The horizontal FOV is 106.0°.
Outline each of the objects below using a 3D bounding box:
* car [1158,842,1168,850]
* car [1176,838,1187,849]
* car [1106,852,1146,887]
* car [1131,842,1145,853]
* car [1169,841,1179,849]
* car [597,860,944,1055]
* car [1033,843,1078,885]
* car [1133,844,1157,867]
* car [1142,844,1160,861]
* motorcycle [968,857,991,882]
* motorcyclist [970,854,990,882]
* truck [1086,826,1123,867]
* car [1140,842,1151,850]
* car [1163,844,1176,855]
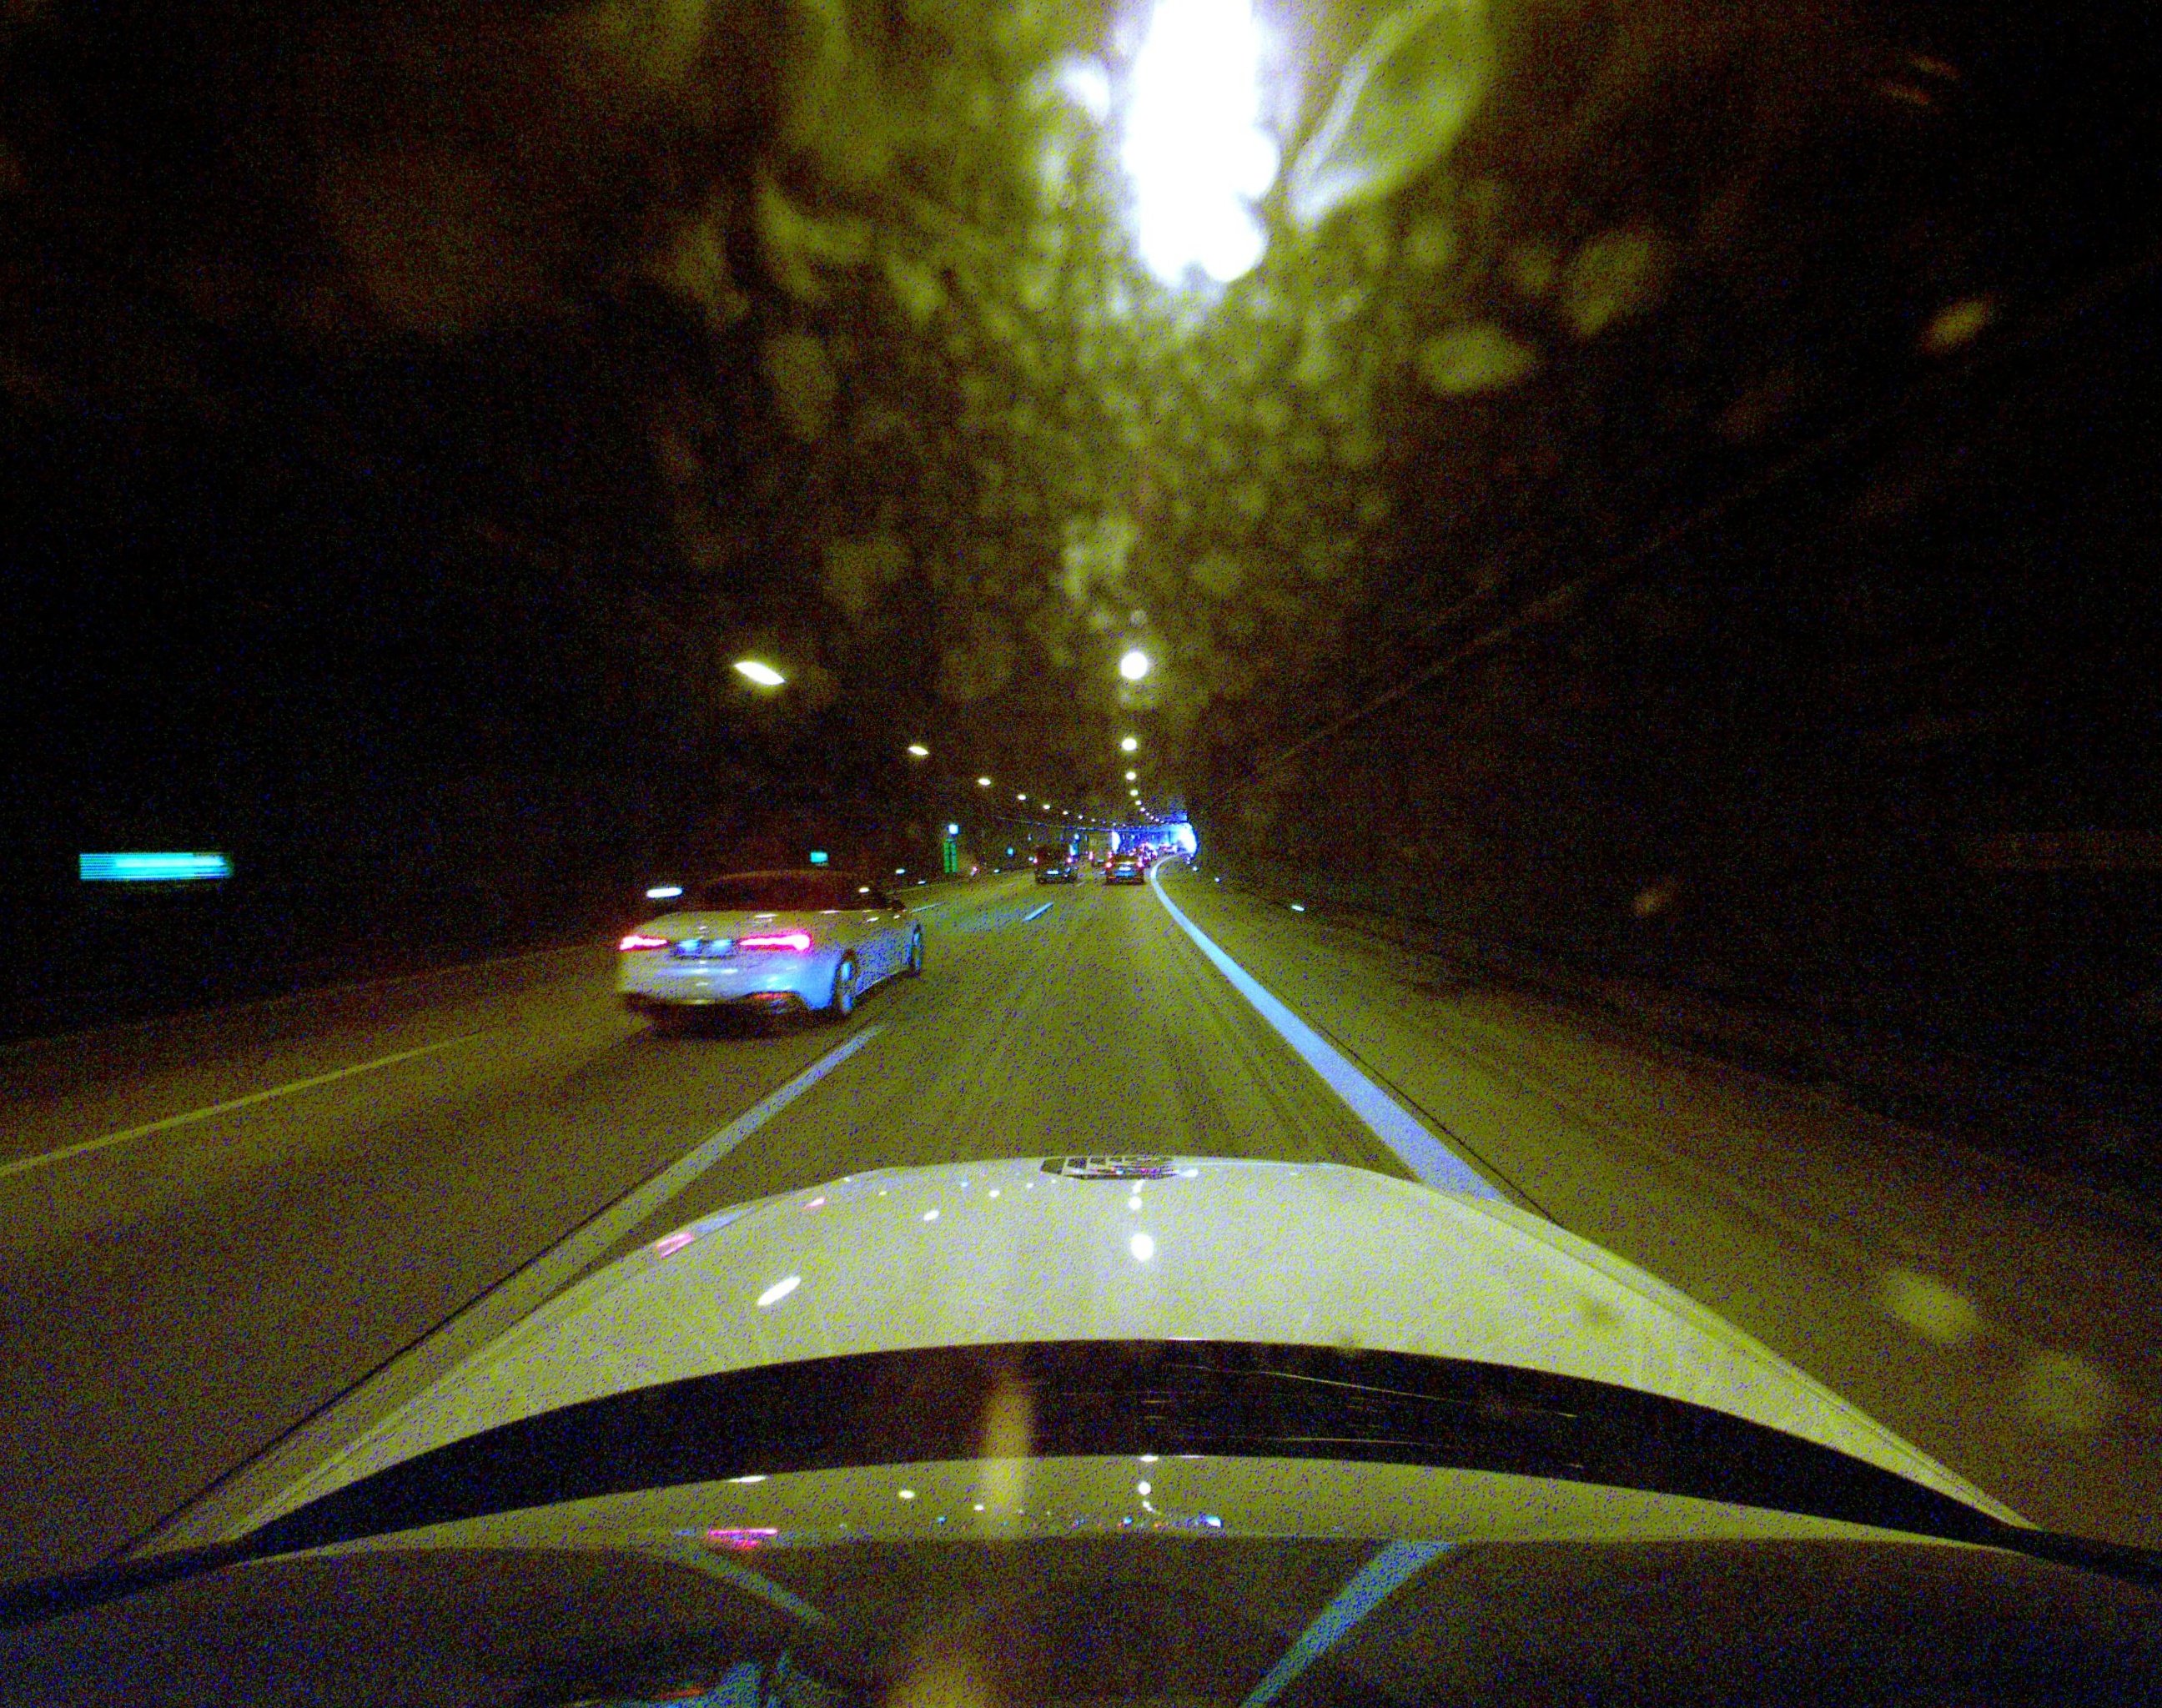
[{"bbox_3d":[19.025,-1.932,189.258,1.917,1.643,4.013,-2,-1,12],"label":"car"},{"bbox_3d":[19.870,-2.081,160.850,1.983,2.014,4.006,-2,-1,6],"label":"car"},{"bbox_3d":[2.180,0.689,38.883,1.734,1.464,3.877,-2,1,5],"label":"car"},{"bbox_3d":[8.792,-0.944,125.356,1.982,1.632,4.009,-1,-1,8],"label":"car"},{"bbox_3d":[20.103,-1.905,176.581,1.982,1.632,4.008,-2,-1,8],"label":"car"},{"bbox_3d":[-2.868,0.835,8.931,1.696,1.419,5.062,-2,0,2],"label":"car"},{"bbox_3d":[-1.251,0.445,41.178,1.902,1.944,3.874,-2,1,3],"label":"car"},{"bbox_3d":[5.509,0.140,69.566,1.847,1.854,4.008,-1,0,7],"label":"car"},{"bbox_3d":[8.115,-0.142,94.560,1.941,1.772,4.004,-1,-1,4],"label":"car"},{"bbox_3d":[-5.327,0.812,42.782,0.680,1.297,2.401,-2,-1,4],"label":"motorcycle"},{"bbox_3d":[-5.309,0.727,42.815,0.773,1.453,1.070,-1,-2,4],"label":"motorcyclist"},{"bbox_3d":[2.338,-0.653,77.537,3.025,3.673,7.402,-1,0,5],"label":"truck"},{"bbox_3d":[13.084,-1.665,165.716,1.920,1.642,4.009,-1,0,8],"label":"car"},{"bbox_3d":[14.537,-0.686,133.988,1.921,1.643,4.006,-2,-1,5],"label":"car"}]
